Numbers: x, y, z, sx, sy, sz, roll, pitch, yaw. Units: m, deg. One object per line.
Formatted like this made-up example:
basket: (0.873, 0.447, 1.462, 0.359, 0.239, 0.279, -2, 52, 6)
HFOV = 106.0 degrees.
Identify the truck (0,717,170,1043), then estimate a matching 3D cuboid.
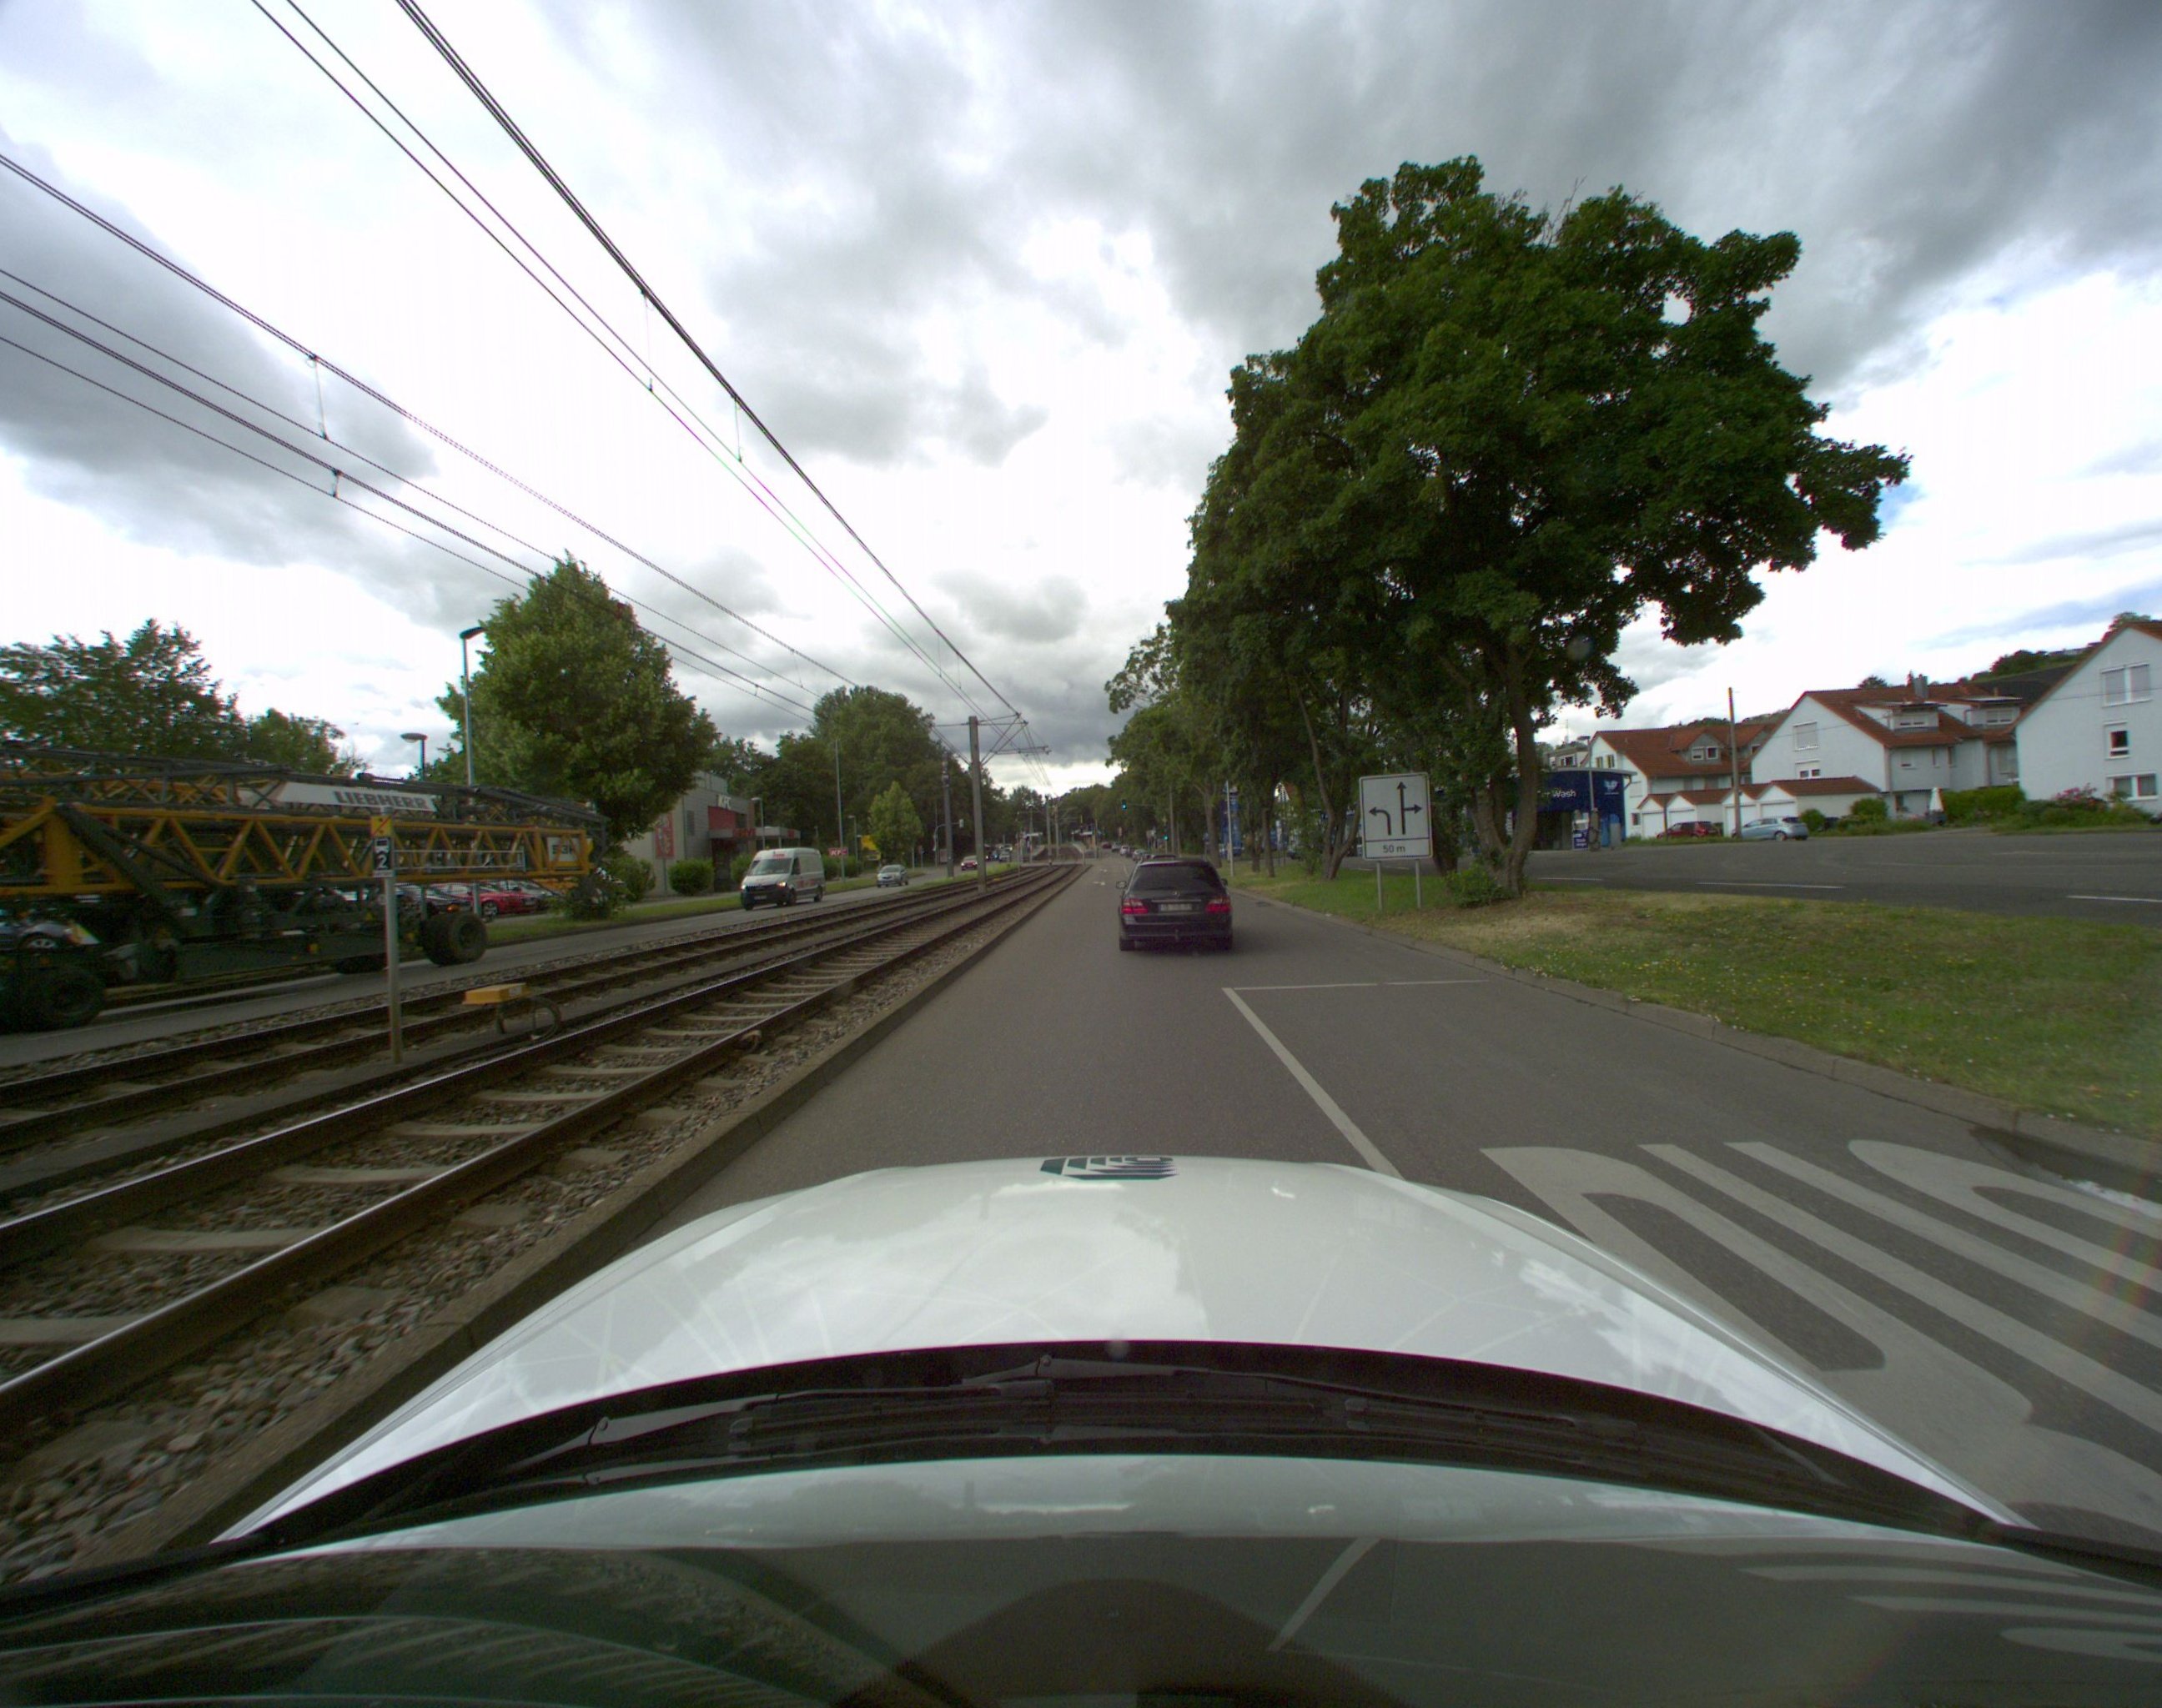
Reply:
truck: (-13.428, 0.352, 5.193, 2.698, 3.663, 11.107, -3, 0, -1)

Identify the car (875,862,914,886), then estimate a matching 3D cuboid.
car: (-13.247, 1.394, 57.975, 1.758, 1.647, 3.772, -1, 0, 2)

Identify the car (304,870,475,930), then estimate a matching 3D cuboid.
car: (-23.069, 1.499, 27.286, 3.978, 1.797, 1.876, -2, 0, -3)

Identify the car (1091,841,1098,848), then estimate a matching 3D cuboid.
car: (3.279, -2.305, 200.189, 1.662, 1.532, 3.768, -1, 0, -2)

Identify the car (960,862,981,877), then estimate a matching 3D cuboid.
car: (-12.513, 1.717, 92.262, 1.758, 1.647, 3.772, -1, 0, 2)

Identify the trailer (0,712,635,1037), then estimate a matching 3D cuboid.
trailer: (-13.598, 0.294, 15.734, 2.697, 3.660, 13.292, -3, 0, -1)

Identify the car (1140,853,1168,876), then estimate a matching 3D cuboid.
car: (4.678, 0.685, 52.538, 1.565, 1.414, 3.355, -1, 0, 2)

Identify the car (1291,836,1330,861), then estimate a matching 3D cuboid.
car: (17.482, -0.429, 61.846, 1.987, 1.682, 4.607, -3, 0, 26)

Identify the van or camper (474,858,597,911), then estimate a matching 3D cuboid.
van or camper: (-23.654, 1.290, 35.437, 3.978, 2.135, 1.876, -1, 0, -3)

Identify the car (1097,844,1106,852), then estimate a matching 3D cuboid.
car: (4.707, -1.411, 186.251, 1.986, 1.838, 4.002, -1, 0, 2)

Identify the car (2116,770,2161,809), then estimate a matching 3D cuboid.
car: (50.793, -3.066, 37.295, 1.683, 1.684, 4.002, -3, 0, 2)

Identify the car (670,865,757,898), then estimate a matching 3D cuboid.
car: (-20.731, 1.535, 46.055, 3.978, 1.599, 1.795, -3, 0, -3)

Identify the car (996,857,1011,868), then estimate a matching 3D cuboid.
car: (-11.327, 1.241, 119.490, 1.758, 1.647, 3.772, -1, 0, 2)

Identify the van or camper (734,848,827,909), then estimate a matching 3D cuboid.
van or camper: (-13.017, 0.983, 35.702, 1.989, 2.354, 5.760, -3, 0, -2)

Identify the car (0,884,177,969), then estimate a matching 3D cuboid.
car: (-23.115, 1.620, 17.974, 3.978, 1.599, 1.876, -3, 0, -3)

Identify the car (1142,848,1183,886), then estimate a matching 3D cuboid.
car: (3.989, 0.633, 40.221, 1.774, 1.750, 3.719, -1, 0, 2)

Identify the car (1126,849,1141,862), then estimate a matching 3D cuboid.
car: (7.319, 0.190, 113.709, 1.986, 1.838, 4.002, -1, 0, 2)

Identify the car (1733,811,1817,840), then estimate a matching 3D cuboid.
car: (42.222, -1.723, 49.649, 1.533, 1.599, 3.724, -1, 0, -10)

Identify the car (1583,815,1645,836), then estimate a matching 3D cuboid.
car: (46.439, -2.472, 71.024, 4.203, 1.684, 1.777, -1, 0, -1)

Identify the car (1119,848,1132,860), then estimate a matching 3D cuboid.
car: (7.161, -0.010, 130.302, 1.986, 1.838, 4.002, -1, 0, 2)

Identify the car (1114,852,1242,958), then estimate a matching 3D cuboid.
car: (1.484, 0.732, 13.745, 1.801, 1.474, 3.882, -1, 0, 2)

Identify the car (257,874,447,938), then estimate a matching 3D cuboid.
car: (-22.422, 1.571, 25.173, 3.978, 1.599, 1.876, -3, 0, -3)

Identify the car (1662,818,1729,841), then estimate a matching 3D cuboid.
car: (41.349, -1.630, 54.887, 1.581, 1.394, 3.406, -1, 0, -10)

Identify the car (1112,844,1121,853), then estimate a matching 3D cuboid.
car: (6.491, -1.036, 148.763, 1.643, 1.554, 3.650, -1, 0, 2)
